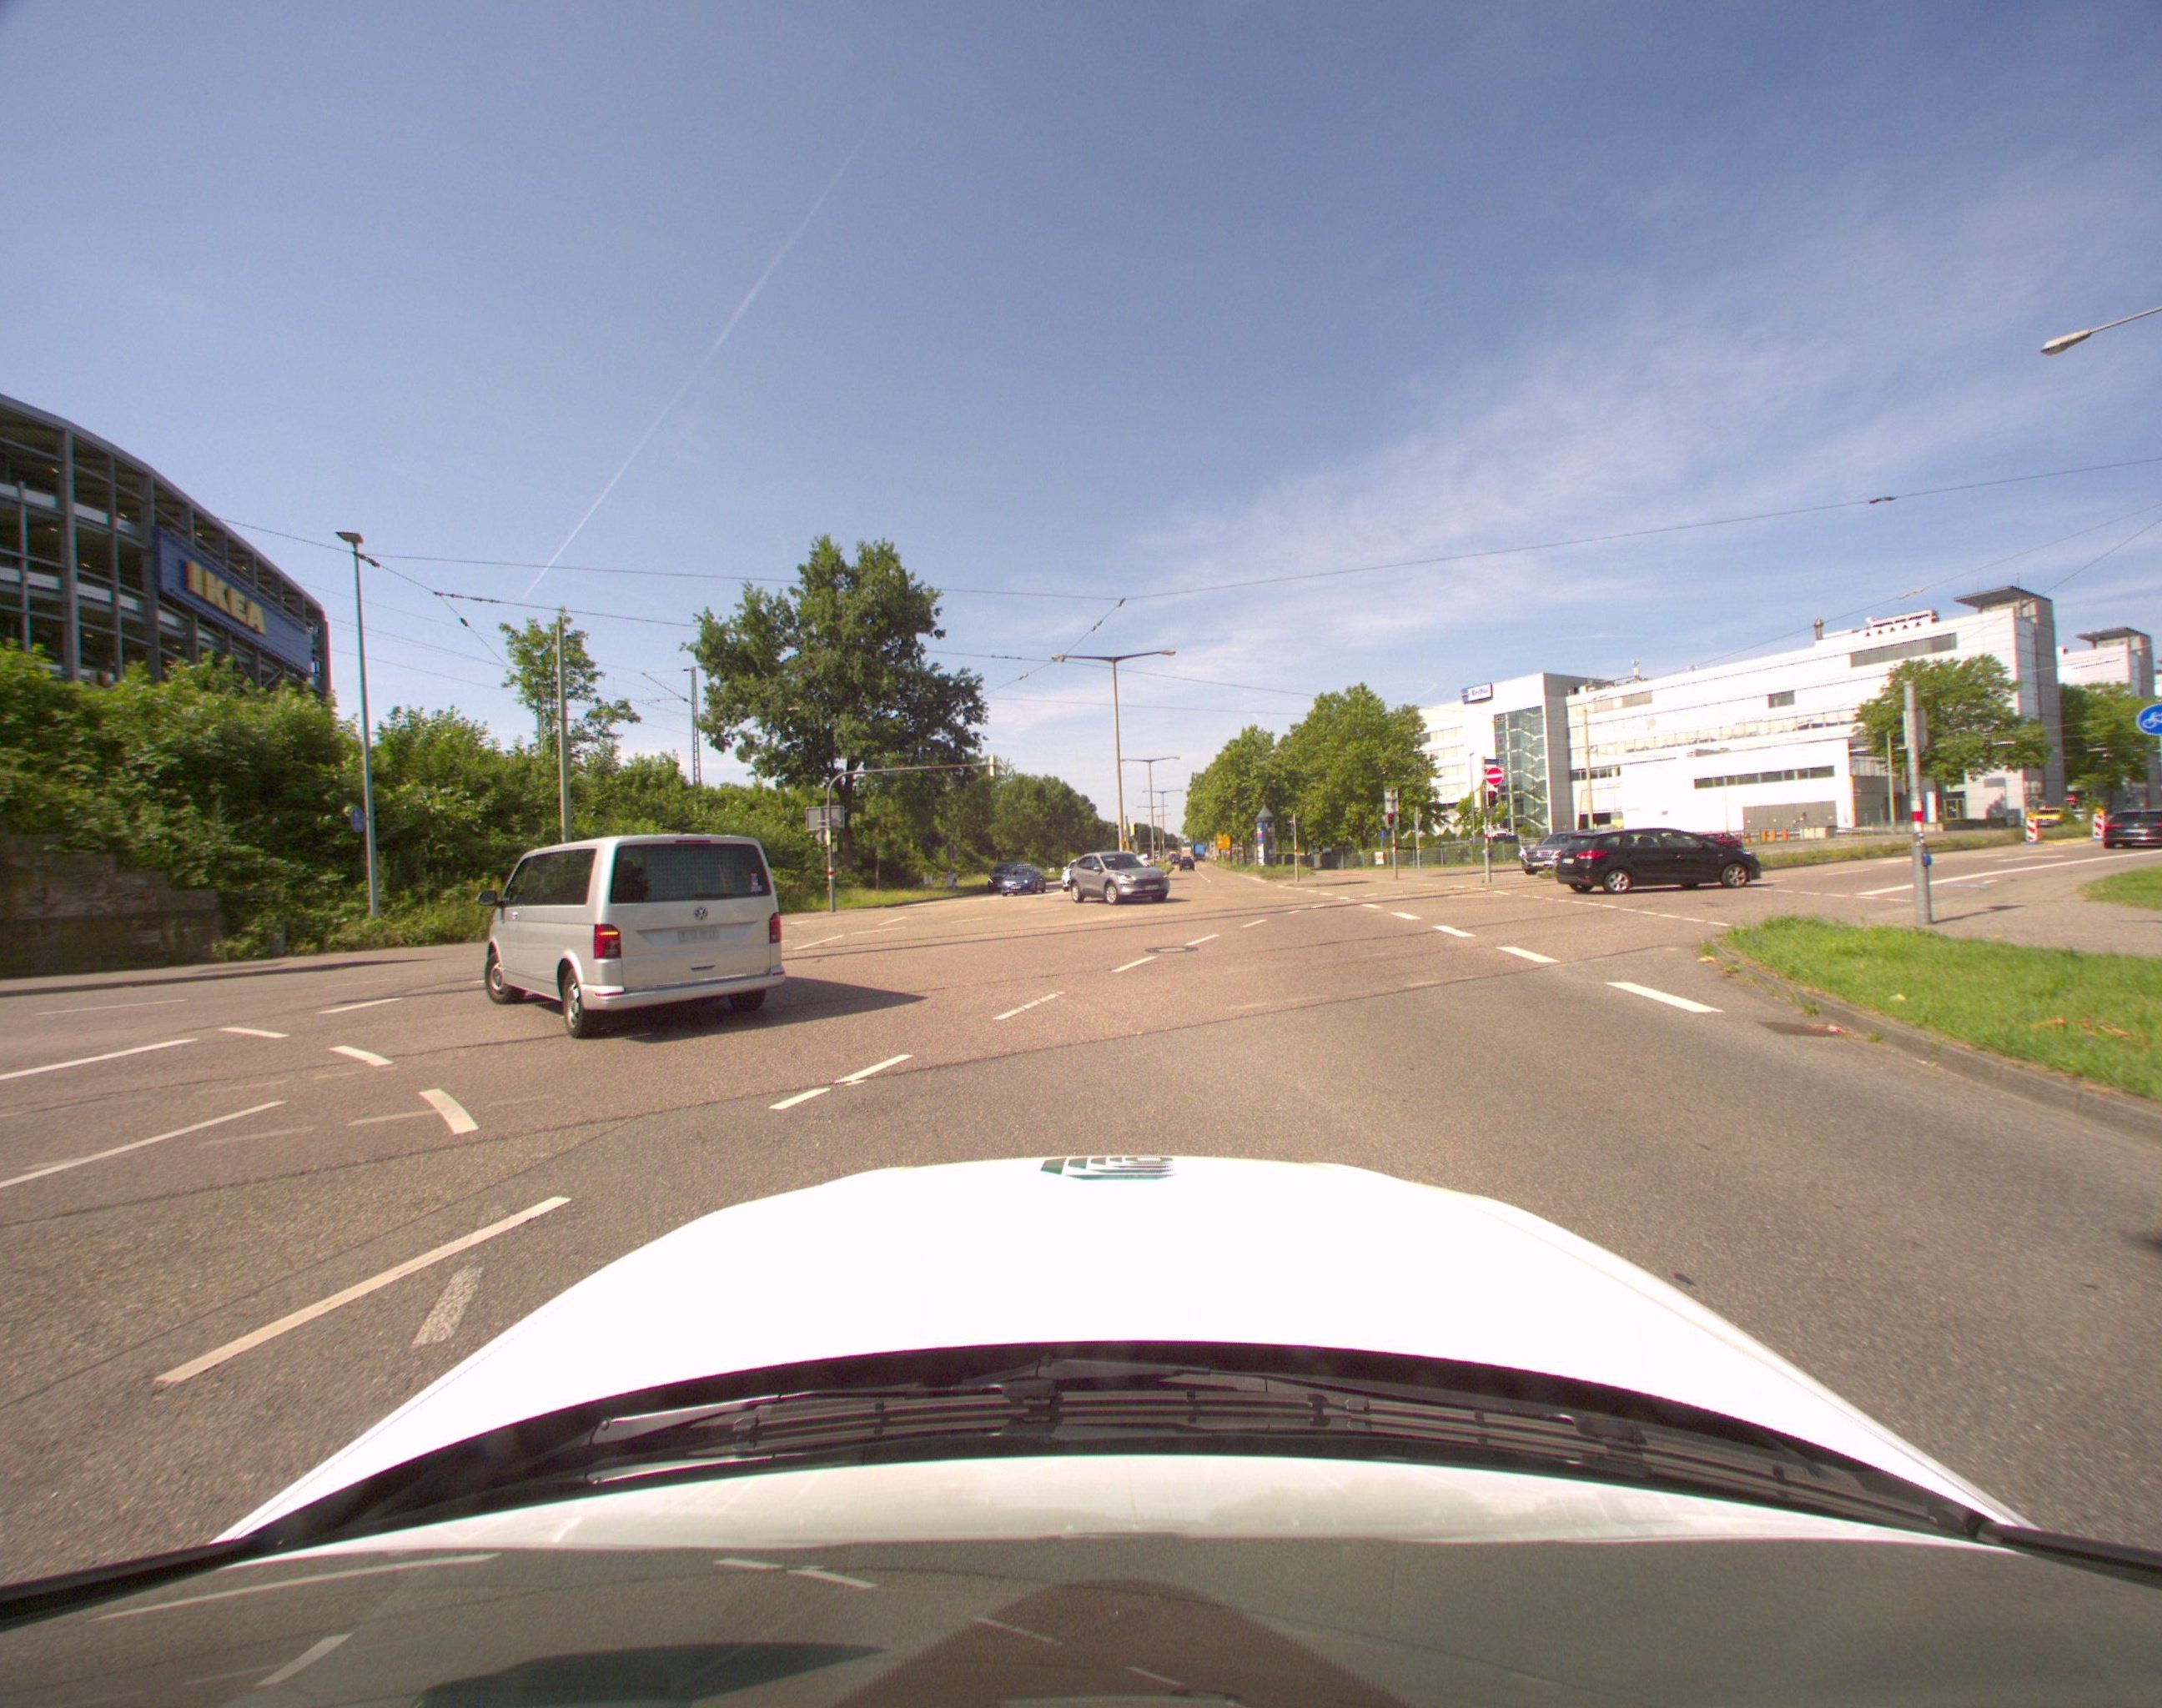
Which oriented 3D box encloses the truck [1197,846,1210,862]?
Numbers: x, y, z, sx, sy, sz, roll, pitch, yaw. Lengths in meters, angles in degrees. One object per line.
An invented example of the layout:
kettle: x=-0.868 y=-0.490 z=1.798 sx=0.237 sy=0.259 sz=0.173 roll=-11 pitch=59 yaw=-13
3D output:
truck: x=35.029 y=-0.041 z=233.092 sx=3.171 sy=4.355 sz=13.183 roll=-3 pitch=-1 yaw=10

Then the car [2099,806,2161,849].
car: x=40.612 y=-1.050 z=30.837 sx=4.407 sy=1.510 sz=1.833 roll=-3 pitch=-1 yaw=-30

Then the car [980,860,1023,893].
car: x=-4.896 y=1.360 z=50.536 sx=1.841 sy=1.814 sz=4.005 roll=-3 pitch=-1 yaw=5

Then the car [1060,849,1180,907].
car: x=1.157 y=0.763 z=26.640 sx=2.000 sy=1.650 sz=4.618 roll=-3 pitch=0 yaw=-24

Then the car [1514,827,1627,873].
car: x=20.277 y=-0.171 z=33.697 sx=4.641 sy=1.689 sz=1.897 roll=-3 pitch=-1 yaw=-30

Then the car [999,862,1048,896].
car: x=-2.948 y=1.256 z=42.439 sx=1.841 sy=1.561 sz=4.005 roll=-3 pitch=-1 yaw=5

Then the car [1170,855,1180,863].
car: x=16.565 y=0.923 z=143.460 sx=1.739 sy=1.344 sz=4.387 roll=-3 pitch=0 yaw=7

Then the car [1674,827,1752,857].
car: x=35.174 y=-0.686 z=45.312 sx=4.641 sy=1.444 sz=1.764 roll=-3 pitch=-1 yaw=-30

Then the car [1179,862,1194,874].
car: x=12.118 y=1.567 z=93.851 sx=1.634 sy=1.236 sz=3.259 roll=-3 pitch=0 yaw=7

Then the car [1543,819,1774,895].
car: x=14.272 y=0.084 z=20.337 sx=4.344 sy=1.605 sz=1.816 roll=-3 pitch=-1 yaw=4

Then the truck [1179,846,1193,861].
truck: x=25.919 y=-0.098 z=200.086 sx=2.824 sy=3.577 sz=8.744 roll=-3 pitch=-1 yaw=10

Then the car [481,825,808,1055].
car: x=-5.274 y=0.796 z=9.434 sx=1.959 sy=1.971 sz=4.959 roll=-1 pitch=-1 yaw=-45

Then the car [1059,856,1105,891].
car: x=0.120 y=0.999 z=43.686 sx=1.899 sy=1.689 sz=4.635 roll=-3 pitch=-1 yaw=7
